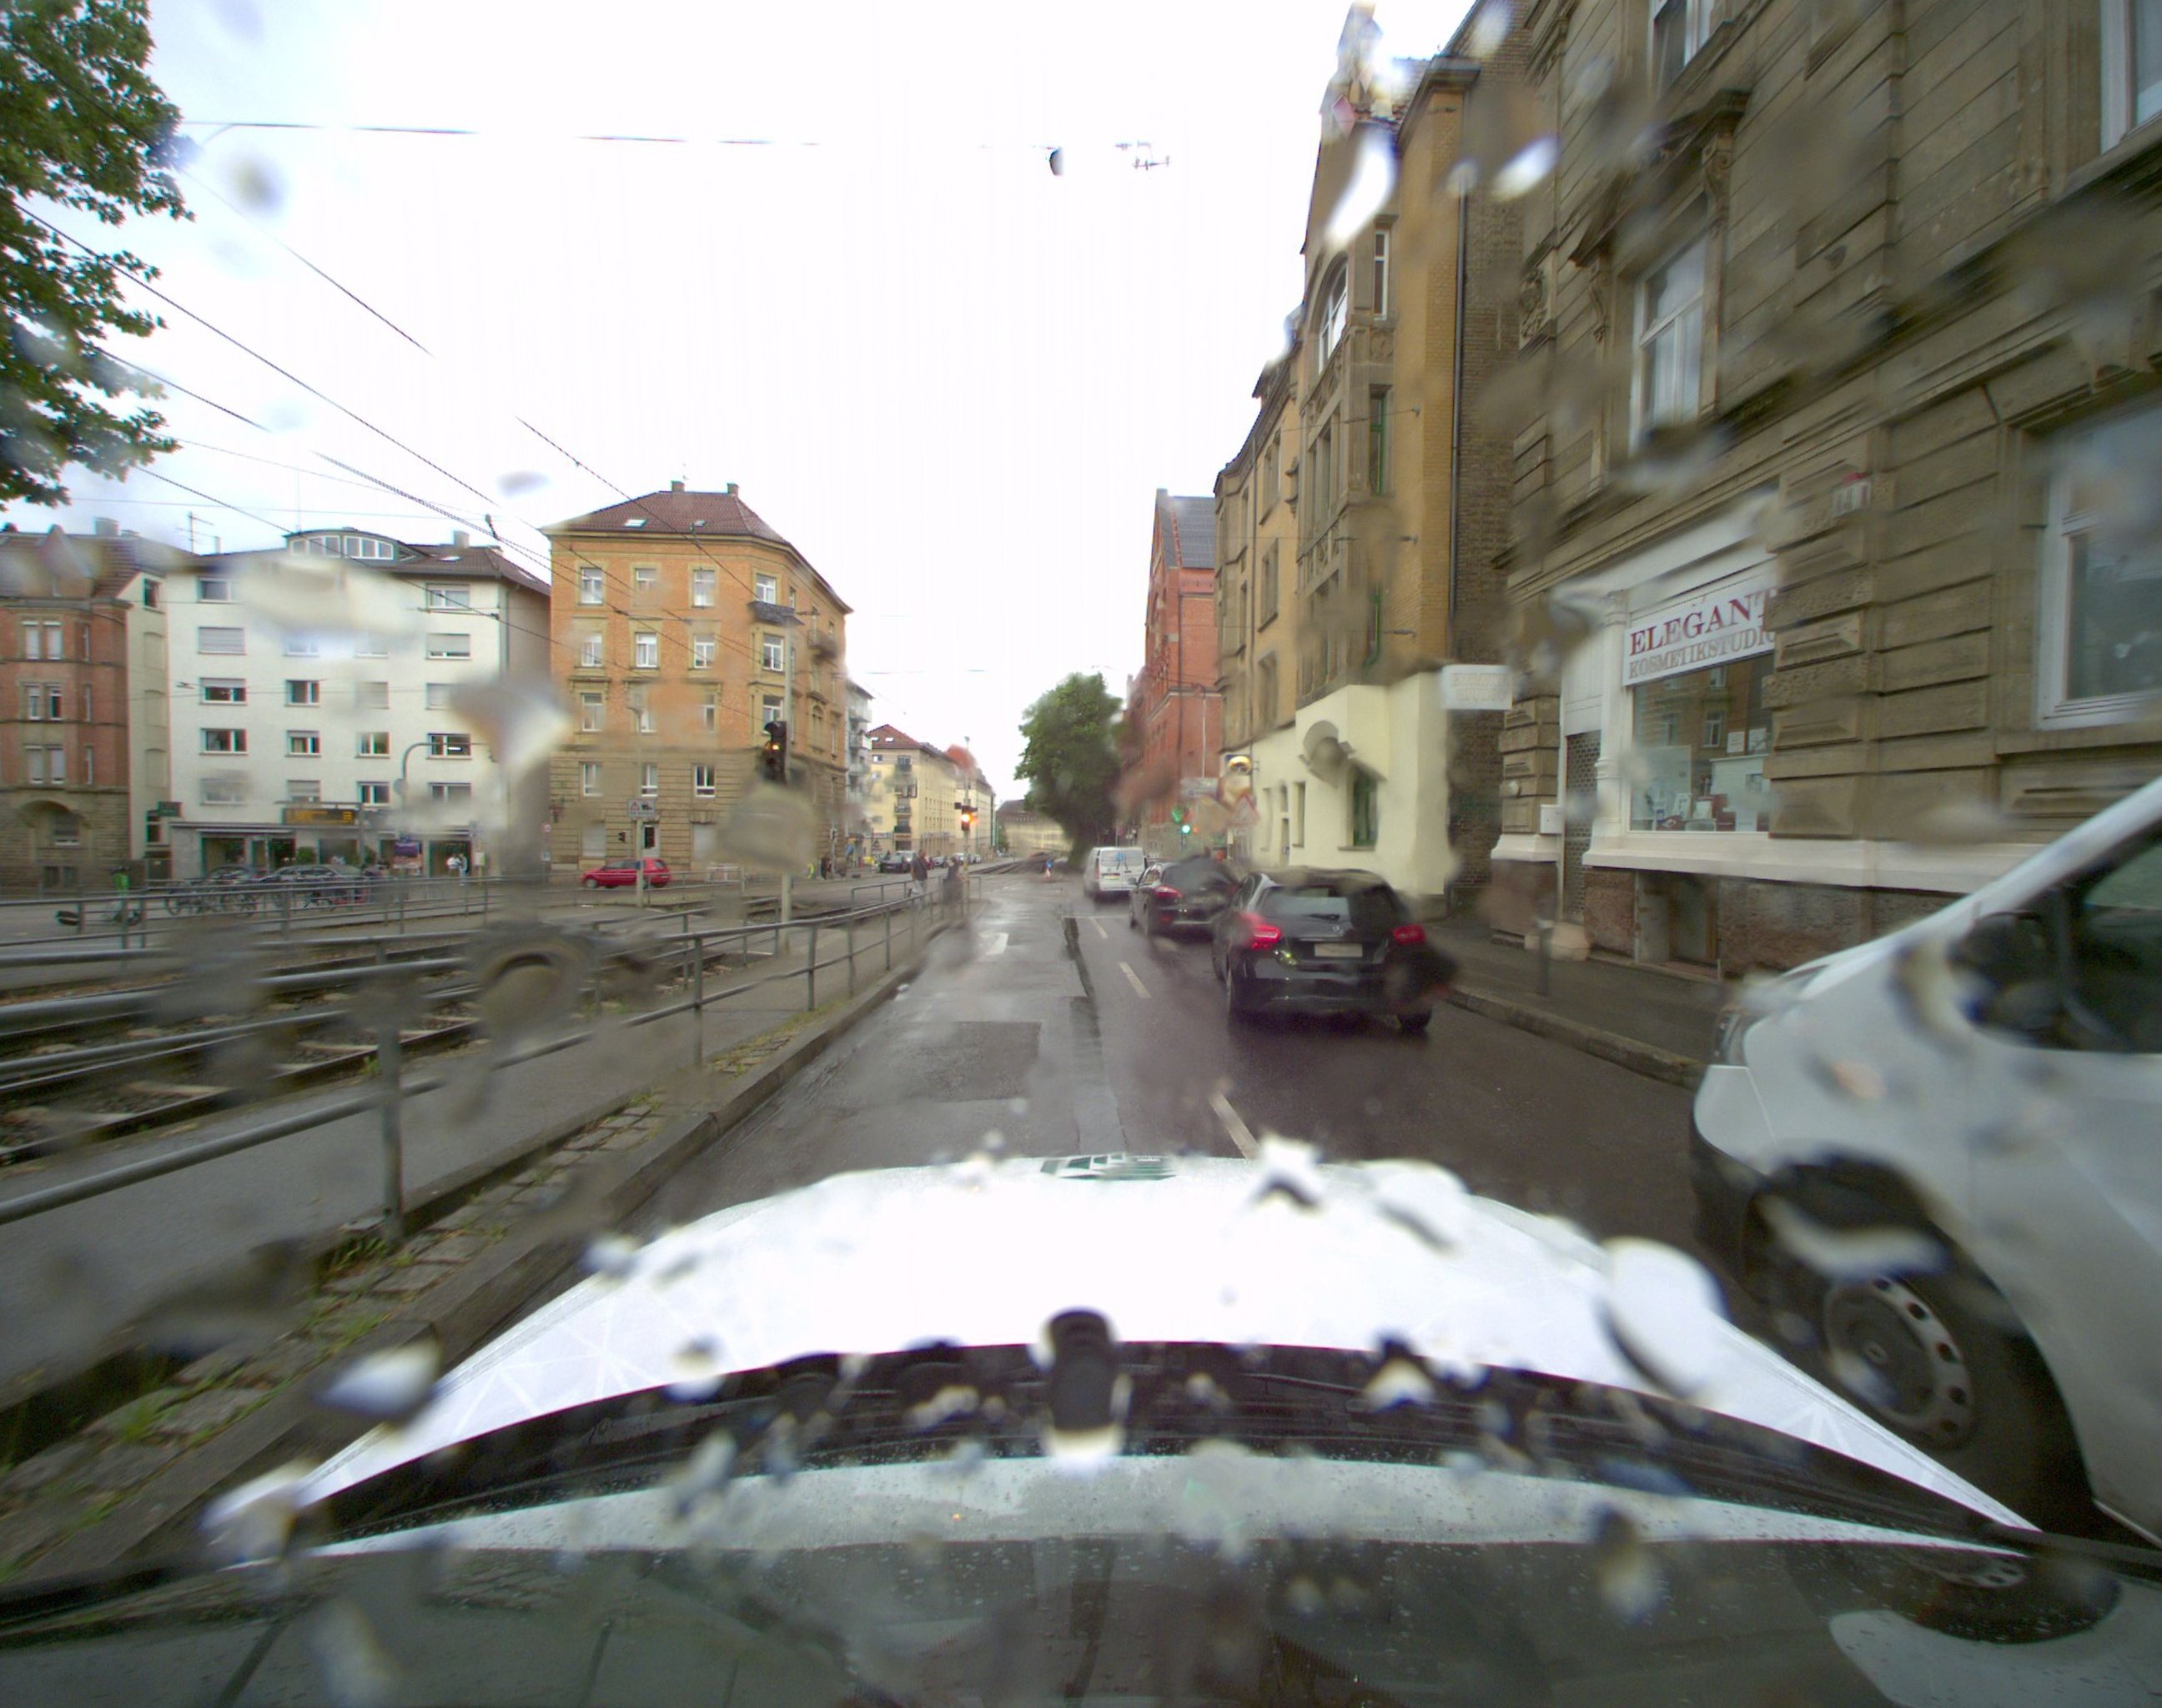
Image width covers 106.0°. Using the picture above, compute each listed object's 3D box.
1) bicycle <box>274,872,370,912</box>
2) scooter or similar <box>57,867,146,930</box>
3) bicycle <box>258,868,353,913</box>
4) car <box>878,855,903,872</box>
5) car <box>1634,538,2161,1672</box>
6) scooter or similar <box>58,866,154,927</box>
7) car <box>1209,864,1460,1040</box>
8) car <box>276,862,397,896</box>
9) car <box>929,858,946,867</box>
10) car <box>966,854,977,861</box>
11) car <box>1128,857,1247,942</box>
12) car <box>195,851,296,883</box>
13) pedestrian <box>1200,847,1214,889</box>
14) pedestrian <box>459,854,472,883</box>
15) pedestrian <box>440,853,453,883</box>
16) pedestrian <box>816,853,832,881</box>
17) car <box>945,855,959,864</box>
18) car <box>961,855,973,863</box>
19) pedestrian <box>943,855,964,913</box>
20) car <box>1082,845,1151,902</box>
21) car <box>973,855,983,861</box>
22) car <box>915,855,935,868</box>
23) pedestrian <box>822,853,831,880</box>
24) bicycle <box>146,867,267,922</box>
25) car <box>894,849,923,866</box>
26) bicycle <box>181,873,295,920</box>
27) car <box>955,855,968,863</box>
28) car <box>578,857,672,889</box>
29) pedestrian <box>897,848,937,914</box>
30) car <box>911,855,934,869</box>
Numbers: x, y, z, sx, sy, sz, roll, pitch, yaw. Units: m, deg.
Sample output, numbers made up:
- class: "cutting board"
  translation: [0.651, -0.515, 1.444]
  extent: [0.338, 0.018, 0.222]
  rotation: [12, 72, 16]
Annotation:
- class: "bicycle"
  translation: [-20.604, 1.018, 22.131]
  extent: [1.872, 1.065, 0.515]
  rotation: [0, 0, -13]
- class: "scooter or similar"
  translation: [-19.660, 0.874, 16.366]
  extent: [0.357, 1.195, 1.119]
  rotation: [0, 0, 37]
- class: "bicycle"
  translation: [-20.353, 0.953, 21.404]
  extent: [1.768, 1.142, 0.515]
  rotation: [0, 0, -13]
- class: "car"
  translation: [-16.335, 0.798, 69.922]
  extent: [1.448, 1.318, 3.292]
  rotation: [1, 0, -2]
- class: "car"
  translation: [2.809, 0.424, 0.382]
  extent: [1.915, 1.936, 4.684]
  rotation: [0, 0, 0]
- class: "scooter or similar"
  translation: [-20.121, 0.857, 16.829]
  extent: [0.295, 1.195, 1.259]
  rotation: [0, 0, 37]
- class: "car"
  translation: [2.385, 0.818, 8.693]
  extent: [1.884, 1.390, 4.008]
  rotation: [0, 0, 7]
- class: "car"
  translation: [-32.277, 1.057, 35.377]
  extent: [3.594, 1.403, 1.683]
  rotation: [0, 0, -5]
- class: "car"
  translation: [-16.838, 0.986, 95.723]
  extent: [1.433, 1.106, 3.160]
  rotation: [0, 0, -1]
- class: "car"
  translation: [-18.229, 0.573, 135.926]
  extent: [1.391, 1.171, 3.160]
  rotation: [0, 0, -1]
- class: "car"
  translation: [1.965, 0.790, 16.171]
  extent: [1.708, 1.469, 4.278]
  rotation: [0, 0, -1]
- class: "car"
  translation: [-40.495, 0.638, 39.526]
  extent: [3.153, 1.489, 1.419]
  rotation: [1, 0, -11]
- class: "pedestrian"
  translation: [3.808, 0.421, 24.622]
  extent: [0.411, 1.271, 0.292]
  rotation: [0, -1, 4]
- class: "pedestrian"
  translation: [-34.424, 0.795, 45.559]
  extent: [0.520, 1.622, 0.480]
  rotation: [1, -1, -41]
- class: "pedestrian"
  translation: [-35.205, 0.766, 45.186]
  extent: [0.520, 1.622, 0.480]
  rotation: [1, -1, -41]
- class: "pedestrian"
  translation: [-15.246, 0.784, 48.241]
  extent: [0.675, 1.661, 0.677]
  rotation: [-1, 0, 5]
- class: "car"
  translation: [-17.263, 0.774, 109.071]
  extent: [1.391, 1.171, 3.160]
  rotation: [0, 0, -1]
- class: "car"
  translation: [-17.737, 0.815, 126.648]
  extent: [1.391, 1.171, 3.160]
  rotation: [0, 0, -1]
- class: "pedestrian"
  translation: [-3.406, 0.799, 21.722]
  extent: [0.531, 1.530, 0.435]
  rotation: [0, -1, -10]
- class: "car"
  translation: [1.161, 0.613, 28.383]
  extent: [1.929, 1.831, 4.274]
  rotation: [0, 0, -4]
- class: "car"
  translation: [-18.724, 0.714, 148.470]
  extent: [1.391, 1.171, 3.160]
  rotation: [0, 0, -1]
- class: "car"
  translation: [-16.703, 0.826, 87.232]
  extent: [1.495, 1.356, 3.160]
  rotation: [0, 0, -1]
- class: "pedestrian"
  translation: [-15.772, 0.775, 50.390]
  extent: [0.519, 1.666, 0.474]
  rotation: [0, 0, -17]
- class: "bicycle"
  translation: [-19.729, 0.904, 18.406]
  extent: [1.872, 1.195, 0.515]
  rotation: [0, 0, -13]
- class: "car"
  translation: [-16.189, 0.320, 76.591]
  extent: [1.781, 1.530, 4.460]
  rotation: [0, 0, -1]
- class: "bicycle"
  translation: [-20.036, 0.995, 19.392]
  extent: [1.873, 1.062, 0.515]
  rotation: [0, 0, -14]
- class: "car"
  translation: [-17.631, 0.719, 120.254]
  extent: [1.391, 1.171, 3.160]
  rotation: [0, 0, -1]
- class: "car"
  translation: [-22.155, 0.897, 39.657]
  extent: [3.592, 1.489, 1.683]
  rotation: [0, 0, -3]
- class: "pedestrian"
  translation: [-4.390, 0.701, 21.777]
  extent: [0.745, 1.724, 0.732]
  rotation: [1, -1, -45]
- class: "car"
  translation: [-16.248, 0.805, 83.382]
  extent: [1.675, 1.356, 3.701]
  rotation: [0, 0, -1]
